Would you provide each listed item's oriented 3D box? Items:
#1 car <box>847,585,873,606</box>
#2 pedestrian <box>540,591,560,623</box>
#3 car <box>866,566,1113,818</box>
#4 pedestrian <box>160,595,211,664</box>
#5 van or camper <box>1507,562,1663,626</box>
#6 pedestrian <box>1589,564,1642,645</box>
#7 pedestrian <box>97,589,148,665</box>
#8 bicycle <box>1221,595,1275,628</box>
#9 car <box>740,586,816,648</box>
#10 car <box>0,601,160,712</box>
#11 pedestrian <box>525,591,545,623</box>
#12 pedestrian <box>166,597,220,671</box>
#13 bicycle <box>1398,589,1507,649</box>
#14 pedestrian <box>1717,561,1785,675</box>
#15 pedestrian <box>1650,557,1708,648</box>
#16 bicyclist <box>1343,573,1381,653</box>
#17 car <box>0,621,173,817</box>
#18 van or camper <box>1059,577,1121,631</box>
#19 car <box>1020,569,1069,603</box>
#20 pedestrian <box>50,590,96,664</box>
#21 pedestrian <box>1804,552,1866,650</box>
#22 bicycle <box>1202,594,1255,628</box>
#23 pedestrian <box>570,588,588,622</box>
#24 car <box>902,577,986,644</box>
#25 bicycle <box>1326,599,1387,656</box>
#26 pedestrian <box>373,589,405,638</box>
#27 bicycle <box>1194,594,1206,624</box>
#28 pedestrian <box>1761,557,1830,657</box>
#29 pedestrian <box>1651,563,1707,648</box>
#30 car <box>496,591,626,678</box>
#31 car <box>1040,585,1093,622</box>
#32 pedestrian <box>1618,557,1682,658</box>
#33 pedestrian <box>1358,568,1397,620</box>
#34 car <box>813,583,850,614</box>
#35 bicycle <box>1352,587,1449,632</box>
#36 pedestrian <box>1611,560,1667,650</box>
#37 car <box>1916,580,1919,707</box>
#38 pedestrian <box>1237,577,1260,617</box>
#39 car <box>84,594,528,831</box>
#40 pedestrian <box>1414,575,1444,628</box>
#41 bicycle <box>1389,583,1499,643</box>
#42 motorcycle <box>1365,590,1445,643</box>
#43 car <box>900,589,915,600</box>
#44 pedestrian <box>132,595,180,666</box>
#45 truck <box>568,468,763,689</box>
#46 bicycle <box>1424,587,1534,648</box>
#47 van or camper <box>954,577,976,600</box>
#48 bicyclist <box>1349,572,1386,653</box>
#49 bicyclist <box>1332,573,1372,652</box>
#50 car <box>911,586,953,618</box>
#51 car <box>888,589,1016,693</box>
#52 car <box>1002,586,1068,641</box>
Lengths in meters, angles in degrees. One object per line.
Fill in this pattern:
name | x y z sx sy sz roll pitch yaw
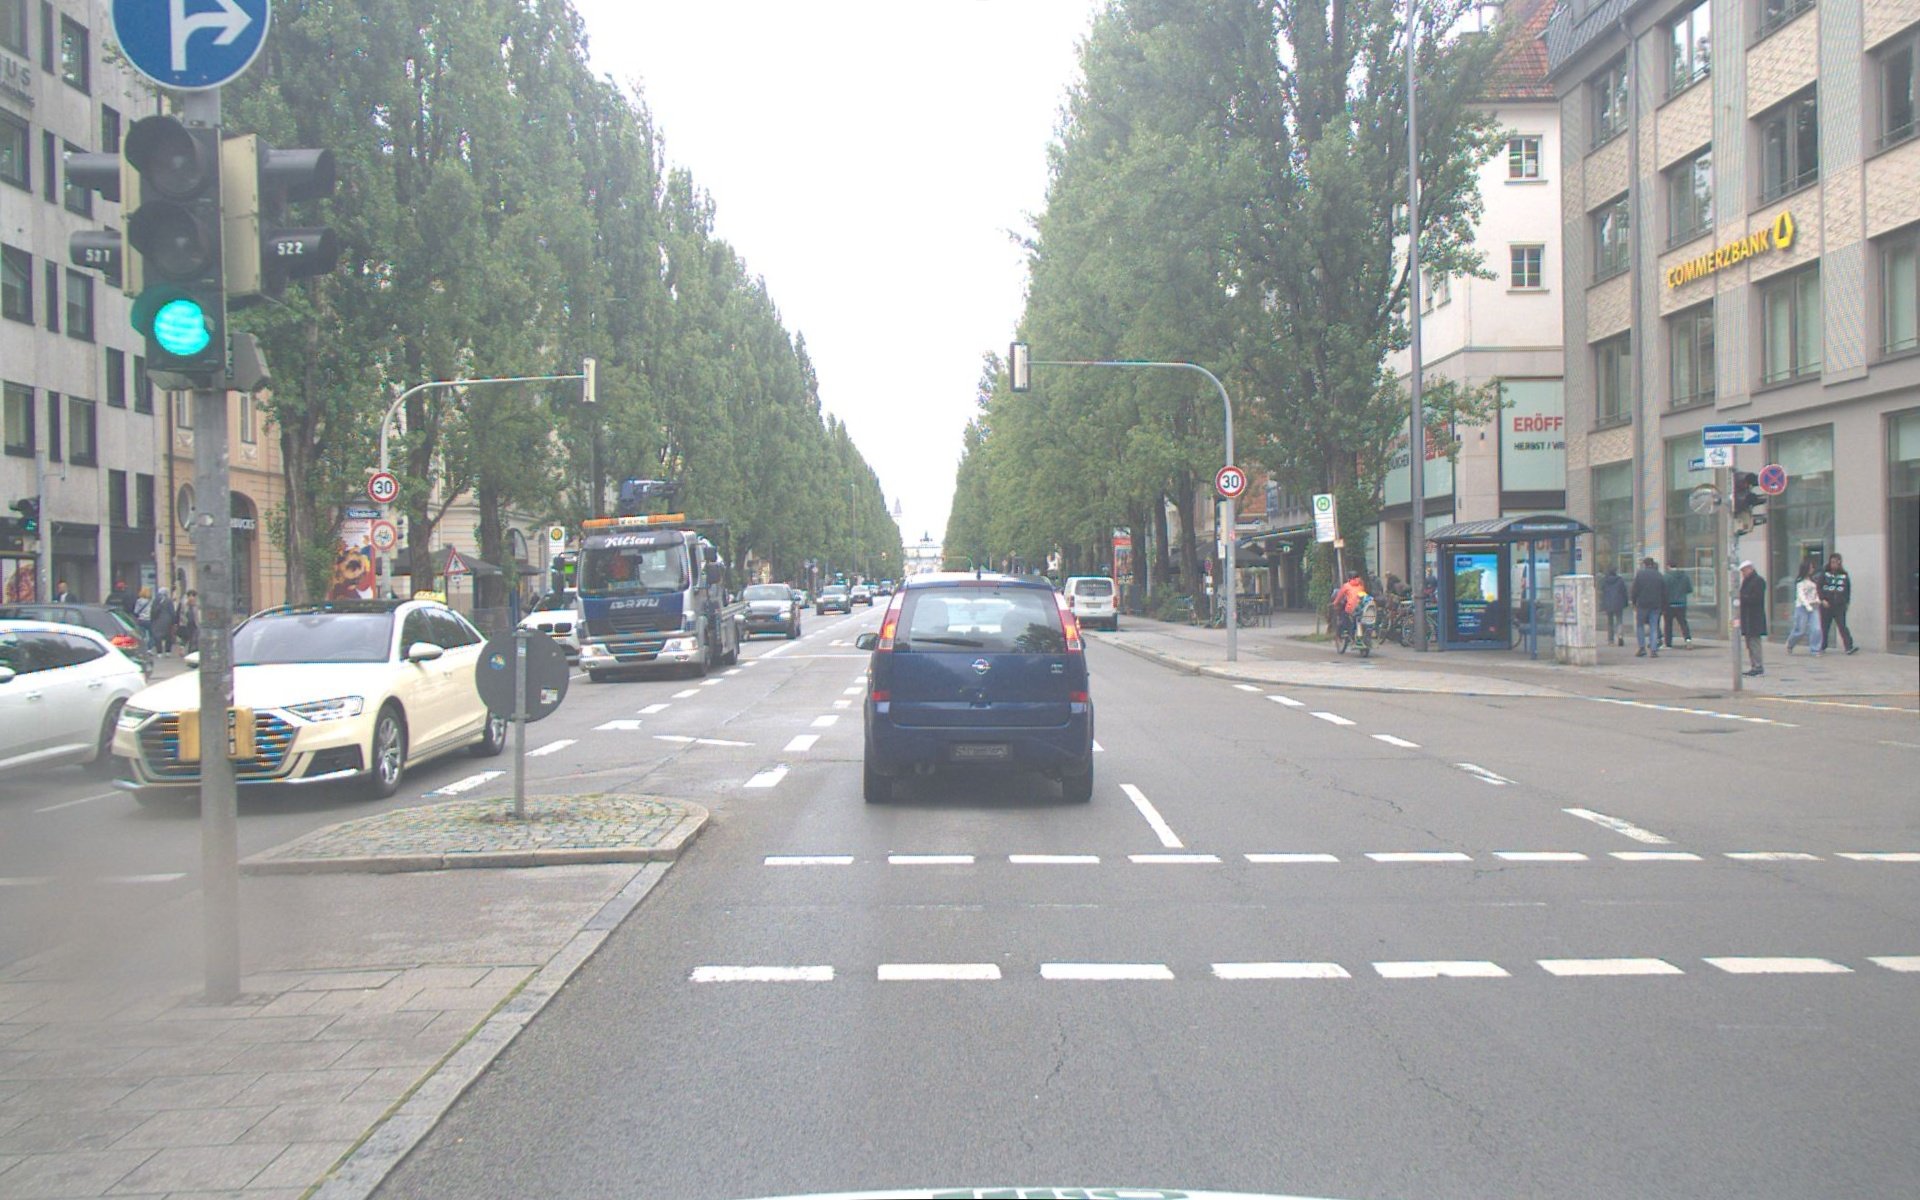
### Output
car | -8.017 -0.365 132.773 1.896 1.651 4.335 -1 0 -2
pedestrian | -20.494 0.356 82.697 0.753 1.564 0.804 -1 0 -2
car | 0.129 0.586 13.097 1.647 1.669 3.999 -1 1 -2
pedestrian | -18.509 0.697 39.556 0.735 1.594 0.989 -1 0 0
van or camper | 18.778 -0.183 49.825 4.019 1.899 1.899 0 0 2
pedestrian | 14.137 0.092 35.708 0.734 1.706 0.963 -2 1 0
pedestrian | -20.507 0.652 40.509 0.783 1.818 0.911 0 0 -1
bicycle | 9.647 0.393 55.452 1.727 1.062 0.482 -1 0 -13
car | -5.528 0.477 50.764 1.846 1.776 4.439 -1 1 -1
car | -13.972 0.833 24.238 3.622 1.501 1.770 -2 1 -8
pedestrian | -21.312 0.357 82.915 0.753 1.564 0.804 -1 0 -2
pedestrian | -17.517 0.760 37.809 0.762 1.647 0.934 -1 1 -2
bicycle | 10.930 0.416 36.732 2.268 1.274 0.477 -1 0 -2
pedestrian | 12.597 0.282 26.356 0.694 1.788 0.752 -1 0 0
pedestrian | 14.482 0.060 33.324 0.734 1.789 0.859 -1 -1 0
bicyclist | 8.254 0.255 33.946 0.609 1.616 0.481 -2 0 -2
car | -8.221 0.964 13.111 1.786 1.432 4.631 -2 1 -1
van or camper | 4.905 0.121 62.923 1.831 1.916 4.902 -1 1 -1
car | 4.005 -0.693 79.272 1.781 1.532 4.229 -2 1 -4
pedestrian | -22.149 0.670 41.313 0.684 1.818 0.820 -1 0 0
pedestrian | 16.161 0.013 30.560 0.734 1.788 0.711 -1 0 0
bicycle | 9.101 0.369 56.091 1.707 1.130 0.447 -1 0 -12
pedestrian | -19.588 0.250 85.081 0.719 1.702 0.952 -1 0 -1
car | -0.448 0.229 40.949 1.953 1.523 3.999 -2 1 -2
bicycle | 8.244 0.560 34.475 0.614 1.105 2.263 -2 1 -2
pedestrian | -20.610 0.482 59.719 0.826 1.774 0.954 0 0 0
bicycle | 8.834 0.335 60.844 0.357 1.056 1.732 -1 1 7
pedestrian | 15.371 0.120 30.439 0.734 1.788 1.017 -1 0 0
pedestrian | 15.115 0.105 34.796 0.734 1.748 0.963 -1 0 0
car | -8.931 0.722 37.415 1.800 1.746 4.635 -2 1 -1
car | 4.372 0.116 68.491 1.685 1.467 4.351 1 1 -3
pedestrian | 13.034 0.135 31.256 0.802 1.849 0.890 -1 0 -3
pedestrian | 13.741 -0.201 54.430 0.978 1.703 0.814 -2 1 -40
car | -7.488 -0.099 96.378 1.874 1.710 4.585 -1 0 -1
bicycle | 10.654 0.217 40.029 2.105 1.035 0.874 -1 1 -2
pedestrian | 13.704 0.106 33.405 0.734 1.789 0.859 -1 -1 0
car | 13.175 0.476 18.513 3.905 1.486 1.760 -2 1 1
pedestrian | 13.764 -0.151 78.993 0.810 1.873 1.099 -1 0 -3
car | -5.173 0.767 13.939 1.806 1.528 4.985 -2 1 -1
pedestrian | 15.302 0.046 53.983 0.638 1.692 0.962 -1 0 -1
bicycle | 10.911 0.287 37.331 2.296 1.274 0.633 -1 0 -2
motorcycle | 10.290 0.373 38.237 1.689 1.159 0.510 -1 0 0
car | -7.045 -0.731 221.693 1.922 1.424 3.778 -2 1 -2
pedestrian | -19.709 0.739 40.550 0.717 1.711 0.977 0 1 -1
truck | -5.559 -0.422 32.649 2.413 3.734 8.438 -1 1 -1
bicycle | 11.104 0.380 35.402 2.194 1.274 0.477 -1 0 23
van or camper | 0.561 -1.426 199.316 2.426 2.626 5.843 -2 1 -1
bicyclist | 8.264 0.257 33.544 0.609 1.616 0.391 -2 0 -2
bicyclist | 8.222 0.252 34.719 0.609 1.616 0.753 -2 0 -2
car | -1.395 0.091 81.366 1.953 1.523 3.998 -1 0 -2
car | -0.195 0.625 27.676 1.953 1.523 3.999 -2 1 -2
car | 2.252 0.374 50.650 1.672 1.601 3.998 -1 0 -2
